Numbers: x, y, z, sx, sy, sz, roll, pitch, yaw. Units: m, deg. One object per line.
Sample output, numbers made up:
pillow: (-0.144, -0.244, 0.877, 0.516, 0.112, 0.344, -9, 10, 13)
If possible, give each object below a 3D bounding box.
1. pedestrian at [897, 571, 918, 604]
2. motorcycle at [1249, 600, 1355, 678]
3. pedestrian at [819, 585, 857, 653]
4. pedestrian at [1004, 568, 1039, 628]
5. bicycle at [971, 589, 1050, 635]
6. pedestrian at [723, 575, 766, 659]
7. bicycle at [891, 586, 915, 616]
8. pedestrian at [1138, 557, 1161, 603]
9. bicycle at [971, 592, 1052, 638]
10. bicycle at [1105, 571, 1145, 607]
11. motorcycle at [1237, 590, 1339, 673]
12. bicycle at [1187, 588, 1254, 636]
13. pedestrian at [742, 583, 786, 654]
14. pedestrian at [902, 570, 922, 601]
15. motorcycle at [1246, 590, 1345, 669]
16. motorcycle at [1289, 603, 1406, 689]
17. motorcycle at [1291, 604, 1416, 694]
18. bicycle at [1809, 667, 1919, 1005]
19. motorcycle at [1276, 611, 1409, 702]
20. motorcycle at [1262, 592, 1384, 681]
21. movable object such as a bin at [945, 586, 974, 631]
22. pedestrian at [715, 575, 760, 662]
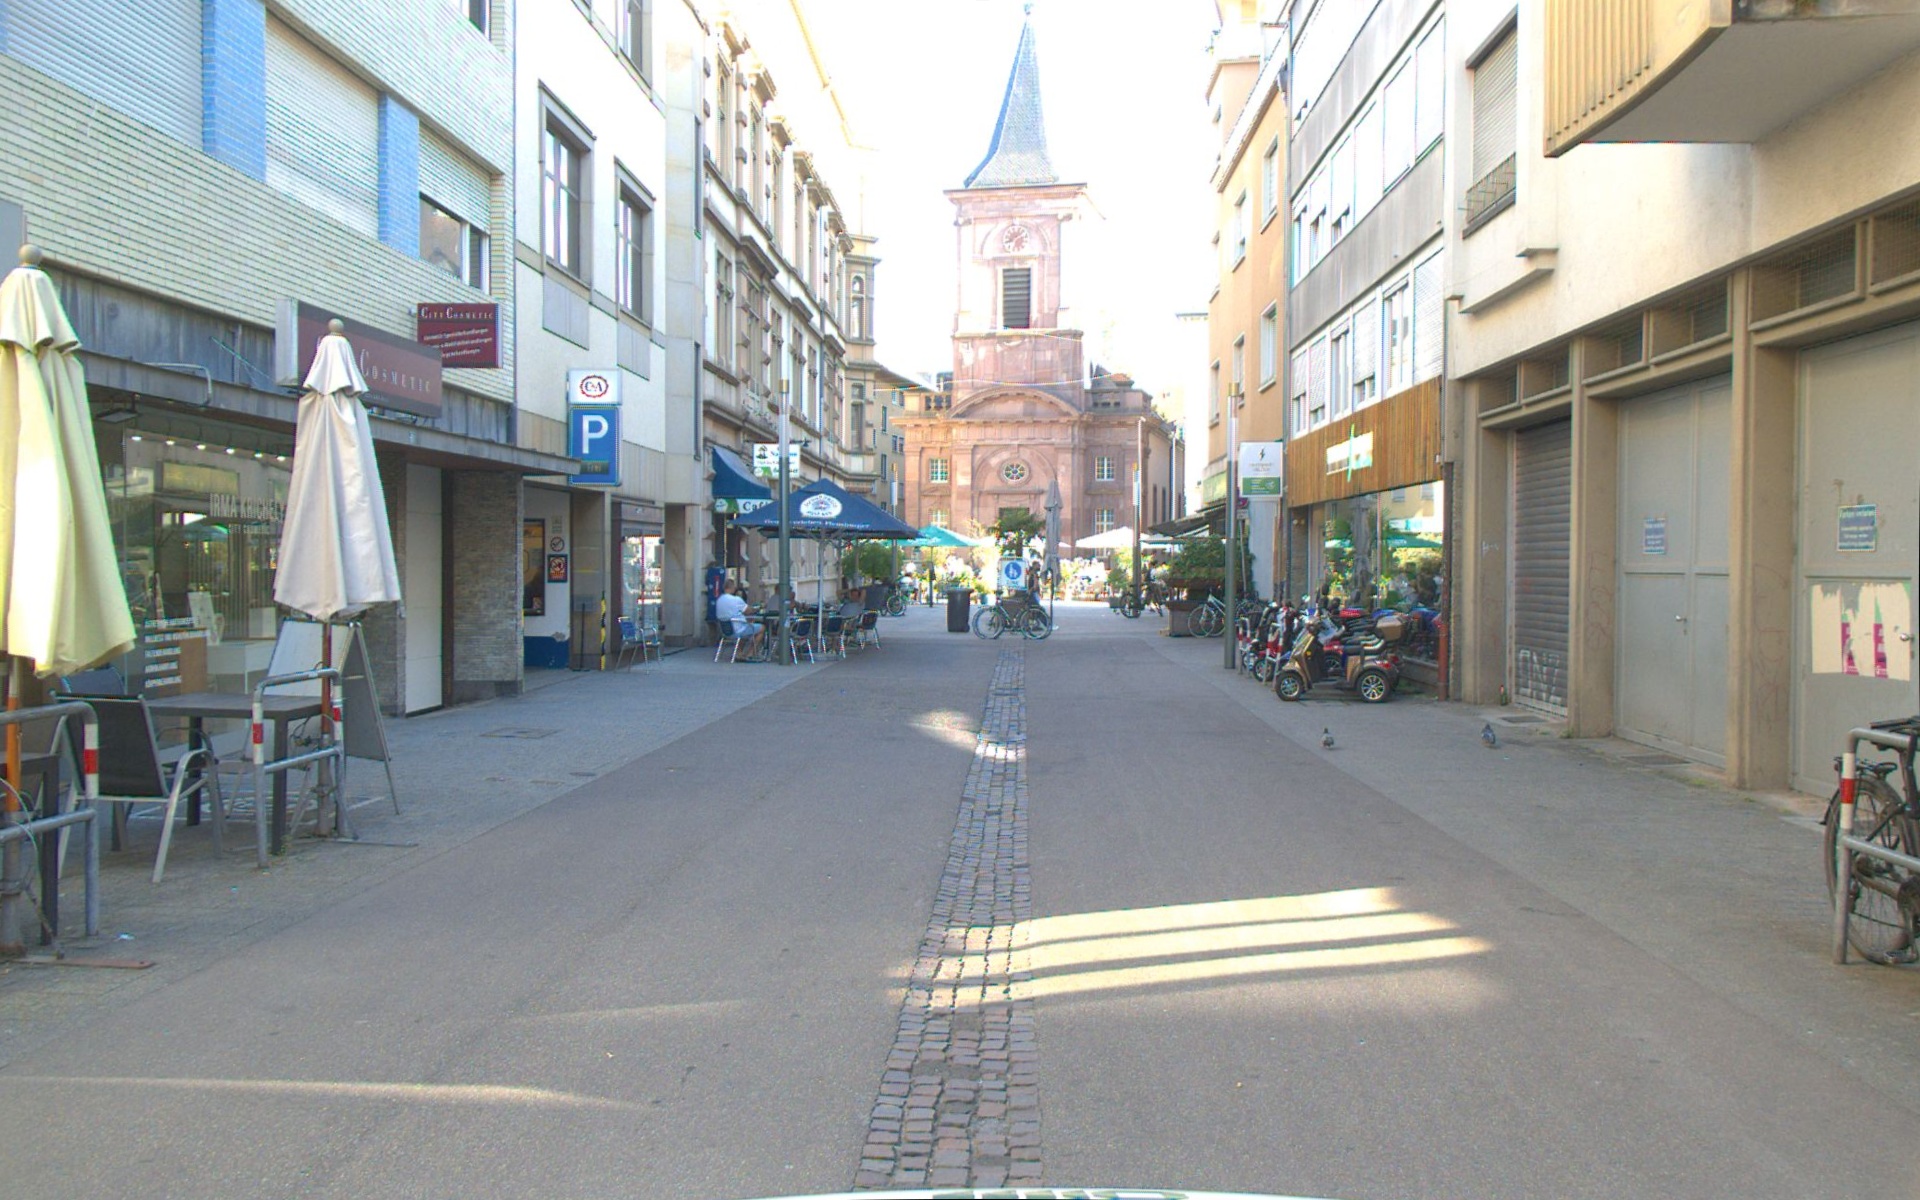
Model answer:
pedestrian: (-2.031, -0.483, 63.690, 0.685, 1.239, 0.720, 0, 1, 8)
motorcycle: (4.904, 0.546, 23.732, 1.453, 1.094, 0.412, 0, 1, 20)
pedestrian: (-2.249, 0.343, 30.449, 0.679, 1.236, 0.582, 0, 1, -6)
pedestrian: (1.555, -0.058, 41.584, 0.865, 1.489, 0.731, 0, 1, 2)
bicycle: (1.143, 0.264, 37.465, 1.787, 1.022, 0.381, 0, 1, -1)
pedestrian: (-3.643, 0.271, 27.914, 0.704, 1.392, 0.708, 0, 1, -10)
bicycle: (-1.705, 0.021, 49.479, 0.447, 0.864, 2.148, 0, 1, 5)
pedestrian: (6.631, -0.708, 57.878, 0.767, 1.583, 0.535, 0, 1, 7)
bicycle: (1.145, 0.340, 37.067, 1.787, 1.022, 0.381, 0, 1, -1)
bicycle: (6.248, -0.427, 62.725, 1.567, 1.330, 0.362, 0, 1, -27)
motorcycle: (4.873, 0.459, 24.556, 1.452, 1.202, 0.412, 0, 1, 17)
bicycle: (5.732, 0.262, 36.407, 1.432, 1.022, 0.573, 0, 1, 9)
pedestrian: (-3.501, 0.321, 29.584, 0.750, 1.254, 0.830, 0, 1, -6)
pedestrian: (-1.876, -0.572, 65.116, 0.685, 1.239, 0.720, 0, 1, 8)
motorcycle: (5.198, 0.458, 25.624, 1.452, 1.202, 0.412, 0, 1, 17)
motorcycle: (5.085, 0.597, 21.711, 1.453, 1.094, 0.412, 0, 1, 20)
motorcycle: (4.939, 0.607, 20.753, 1.485, 1.094, 0.412, 0, 1, 20)
bicycle: (3.644, 0.859, 6.001, 0.437, 1.160, 1.711, 1, 0, 7)
motorcycle: (4.608, 0.668, 19.955, 1.531, 1.060, 0.372, 0, 1, 20)
motorcycle: (5.025, 0.492, 22.916, 1.591, 1.195, 0.480, 0, 1, 20)
movable object such as a bin: (-0.017, 0.199, 40.386, 0.706, 1.093, 0.374, 0, 1, 0)
pedestrian: (-3.623, 0.295, 26.881, 0.695, 1.392, 0.718, 0, 1, -10)
